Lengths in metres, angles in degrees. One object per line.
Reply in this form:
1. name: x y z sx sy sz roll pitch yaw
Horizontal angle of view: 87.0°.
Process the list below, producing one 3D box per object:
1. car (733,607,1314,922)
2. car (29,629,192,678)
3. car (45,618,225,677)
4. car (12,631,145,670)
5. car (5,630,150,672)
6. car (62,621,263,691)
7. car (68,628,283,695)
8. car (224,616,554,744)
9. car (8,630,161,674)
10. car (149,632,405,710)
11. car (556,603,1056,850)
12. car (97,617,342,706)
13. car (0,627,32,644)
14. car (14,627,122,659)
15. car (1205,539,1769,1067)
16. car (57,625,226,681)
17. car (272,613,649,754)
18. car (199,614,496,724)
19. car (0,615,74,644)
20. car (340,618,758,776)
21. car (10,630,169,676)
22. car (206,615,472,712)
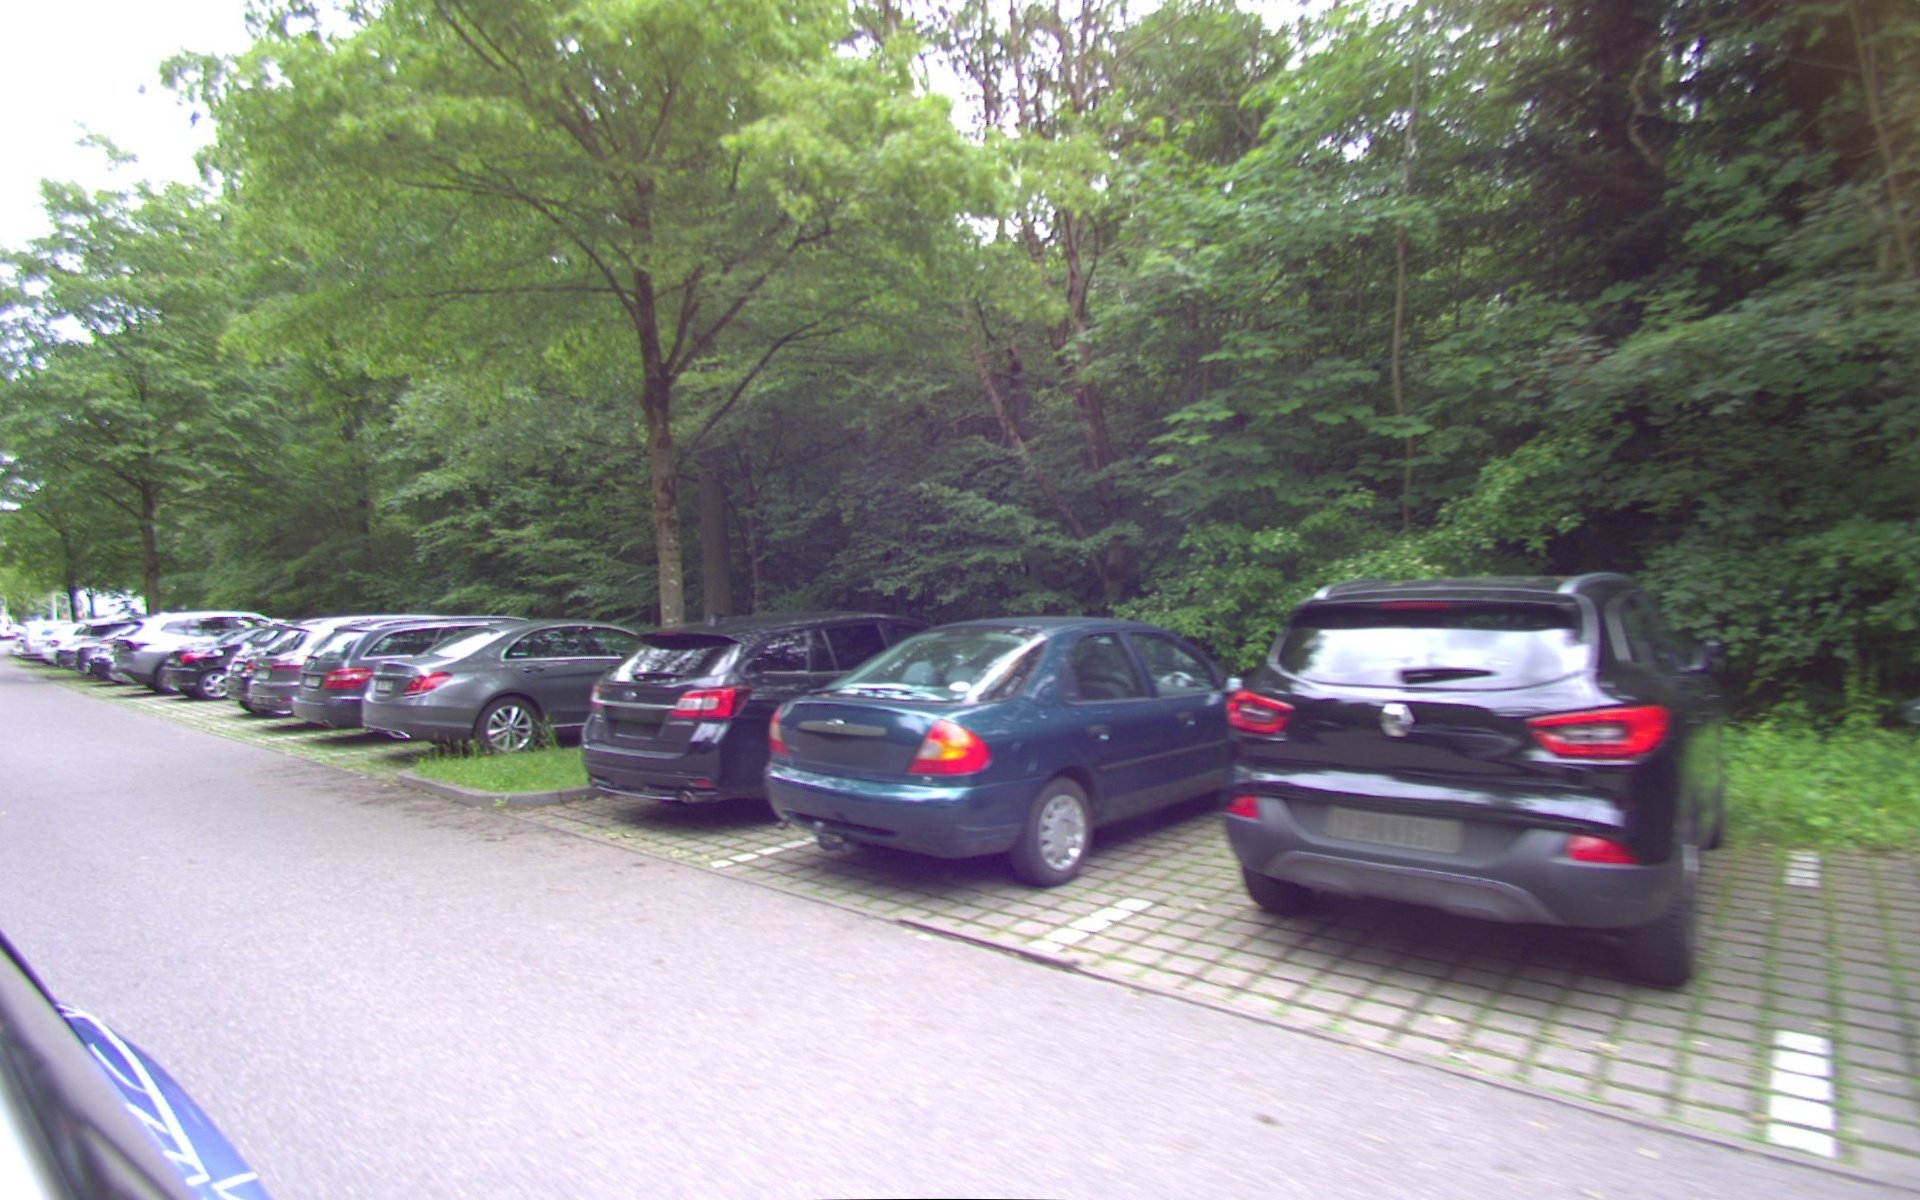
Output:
1. car: 0.659 0.785 6.707 1.741 1.432 3.943 -2 -1 43
2. car: -28.589 1.756 34.167 1.711 1.489 3.949 -2 -2 37
3. car: -24.867 1.387 30.628 1.711 1.684 3.950 -2 -2 37
4. car: -37.005 2.083 42.557 1.711 1.489 3.949 -2 -2 37
5. car: -33.967 1.921 39.034 1.711 1.489 3.949 -2 -2 37
6. car: -21.328 1.429 27.190 1.711 1.722 3.950 -2 -2 37
7. car: -19.464 1.479 25.260 1.711 1.500 3.950 -2 -2 37
8. car: -8.354 1.073 15.134 1.710 1.528 3.952 -1 0 35
9. car: -31.801 1.844 36.864 1.711 1.489 3.949 -2 -2 37
10. car: -13.654 1.350 20.440 1.710 1.381 3.952 -1 -2 35
11. car: -1.018 0.799 8.333 1.739 1.453 3.949 -1 0 38
12. car: -15.859 1.241 21.840 1.711 1.740 3.950 -2 -2 37
13. car: -79.417 2.963 84.611 1.743 1.325 3.902 -1 0 -28
14. car: -45.481 2.169 51.708 3.933 1.431 1.787 -1 0 -33
15. car: 2.959 0.644 5.178 1.740 1.609 3.947 -2 -1 40
16. car: -26.228 1.645 32.541 1.711 1.684 3.950 -2 -2 37
17. car: -6.508 0.975 13.553 1.817 1.549 4.168 -2 -1 40
18. car: -10.210 1.065 17.140 1.710 1.528 3.952 -1 0 35
19. car: -49.456 1.566 53.338 3.933 1.431 1.787 -1 0 -33
20. car: -4.626 0.978 11.823 1.819 1.467 4.164 -2 -1 44
21. car: -30.446 1.822 35.493 1.711 1.489 3.949 -2 -2 37
22. car: -11.630 1.110 19.193 1.710 1.528 3.952 -1 0 35
